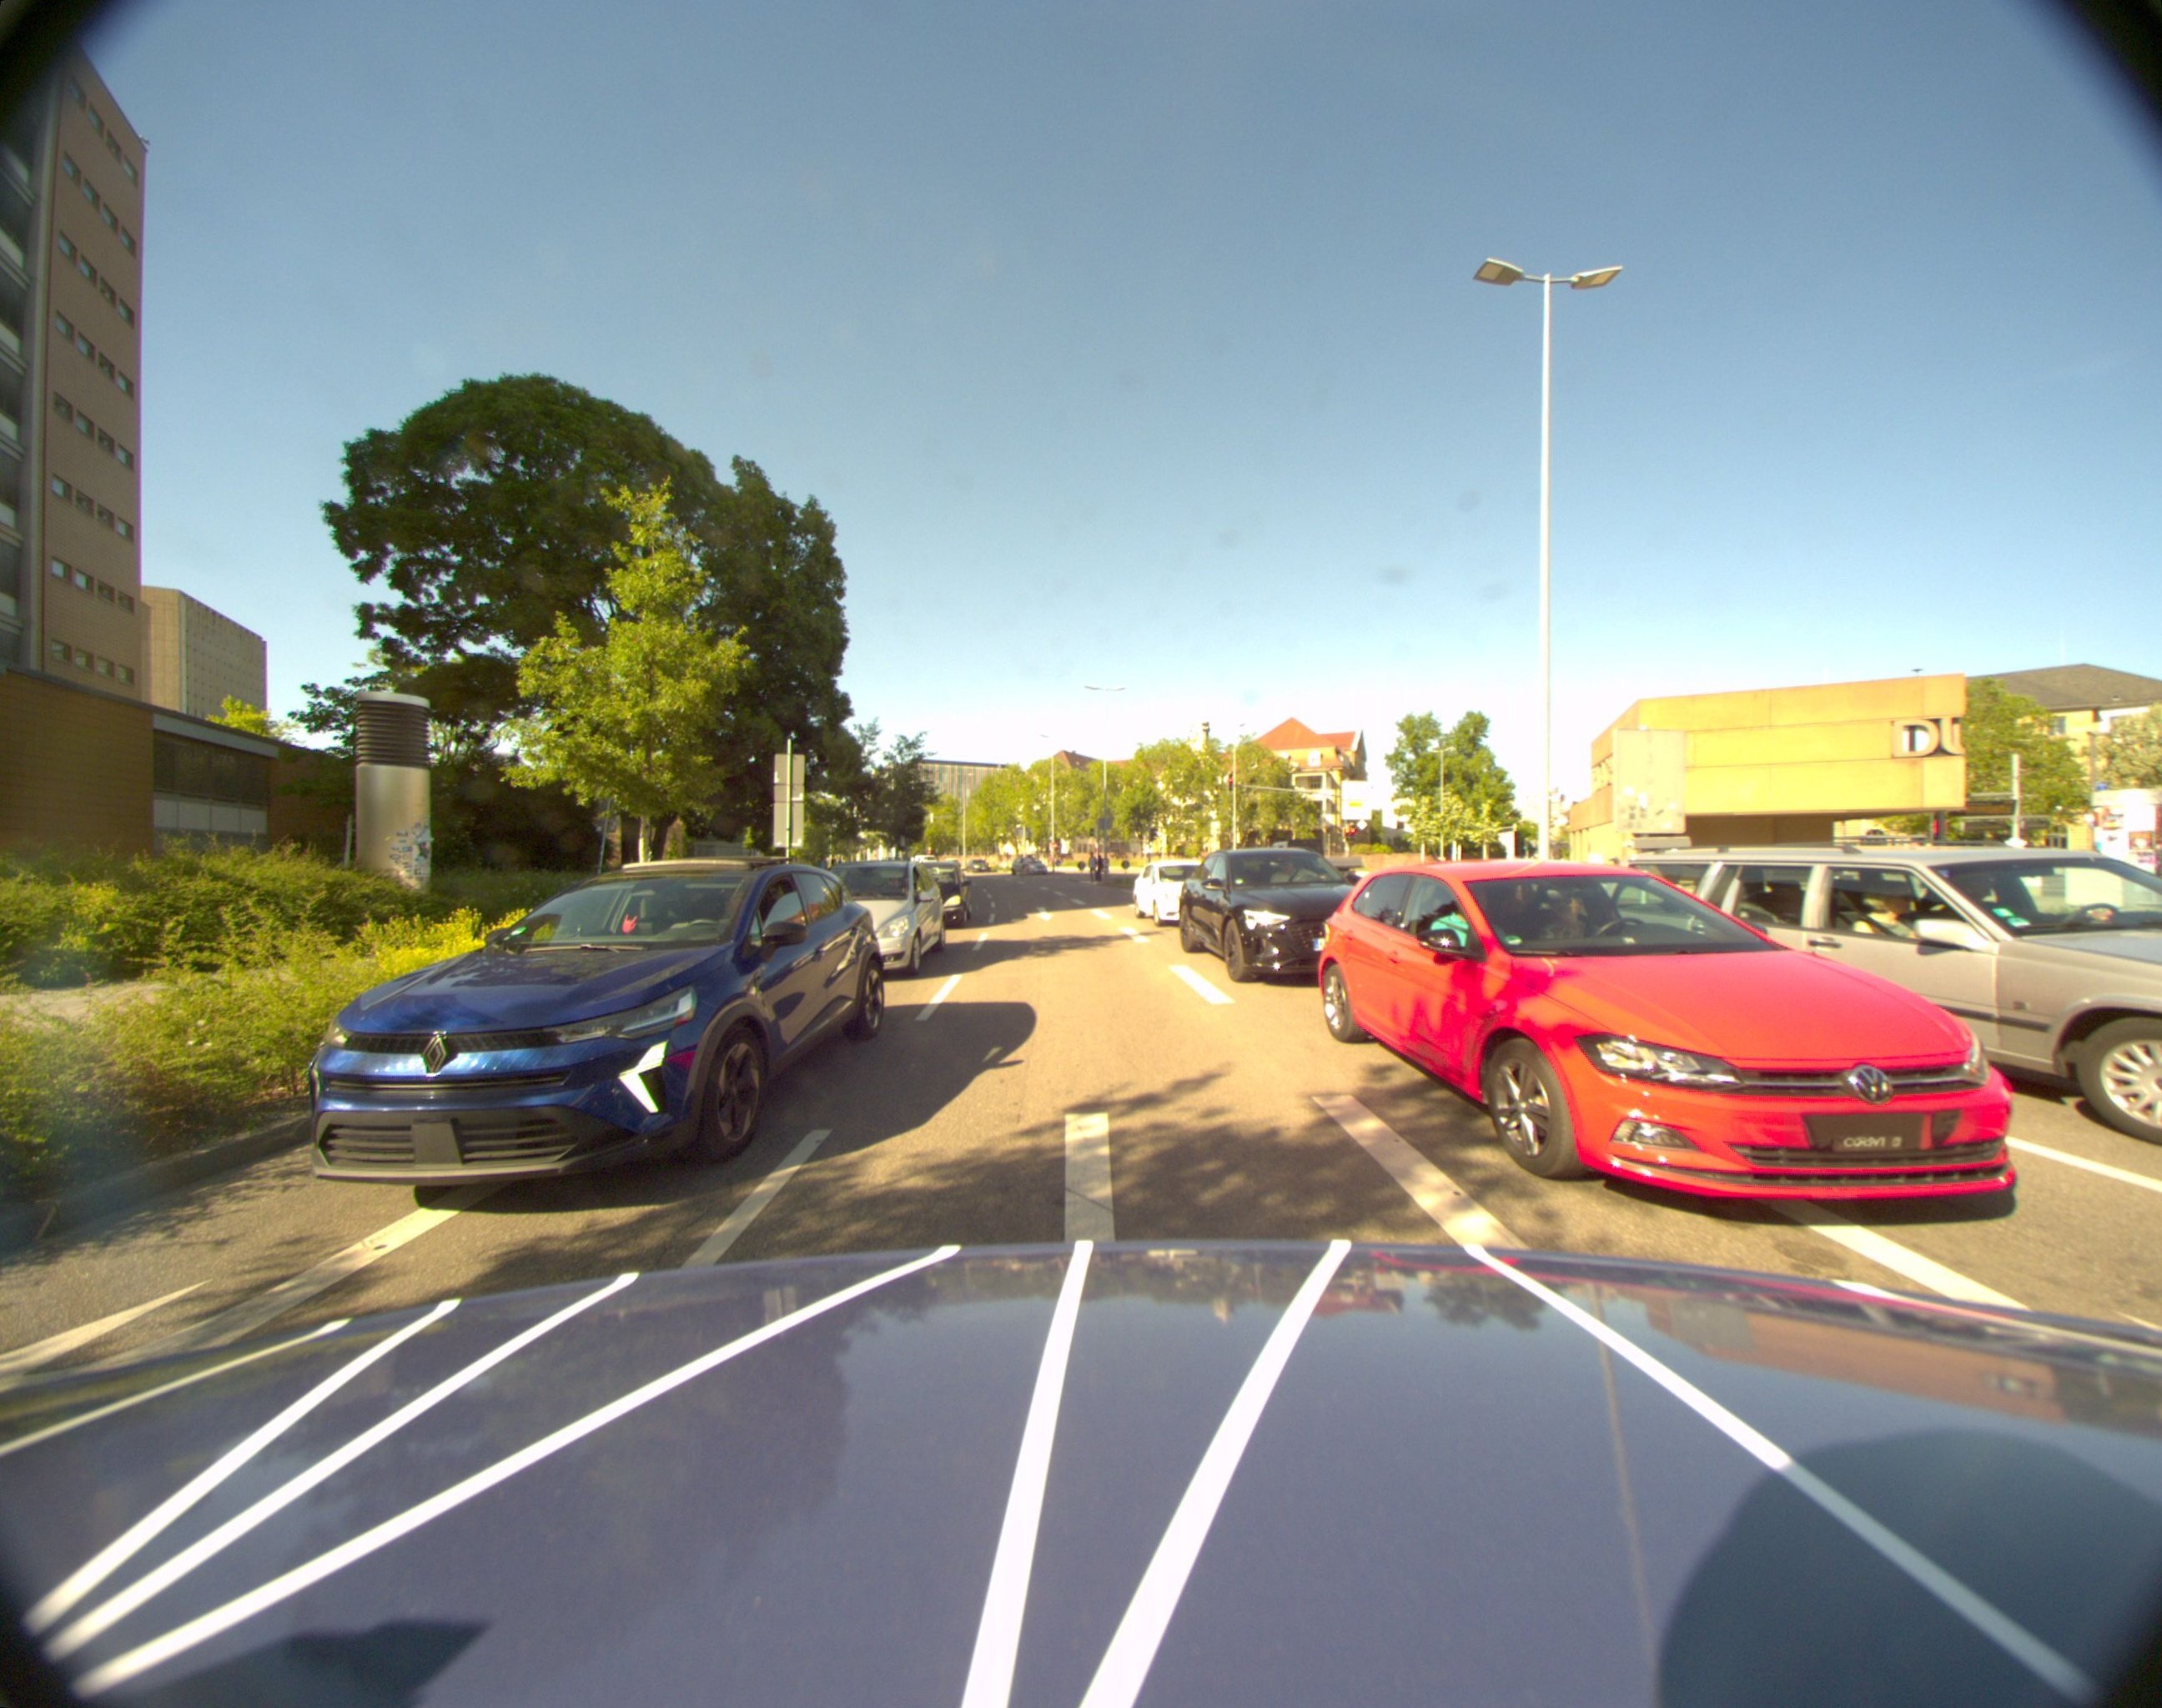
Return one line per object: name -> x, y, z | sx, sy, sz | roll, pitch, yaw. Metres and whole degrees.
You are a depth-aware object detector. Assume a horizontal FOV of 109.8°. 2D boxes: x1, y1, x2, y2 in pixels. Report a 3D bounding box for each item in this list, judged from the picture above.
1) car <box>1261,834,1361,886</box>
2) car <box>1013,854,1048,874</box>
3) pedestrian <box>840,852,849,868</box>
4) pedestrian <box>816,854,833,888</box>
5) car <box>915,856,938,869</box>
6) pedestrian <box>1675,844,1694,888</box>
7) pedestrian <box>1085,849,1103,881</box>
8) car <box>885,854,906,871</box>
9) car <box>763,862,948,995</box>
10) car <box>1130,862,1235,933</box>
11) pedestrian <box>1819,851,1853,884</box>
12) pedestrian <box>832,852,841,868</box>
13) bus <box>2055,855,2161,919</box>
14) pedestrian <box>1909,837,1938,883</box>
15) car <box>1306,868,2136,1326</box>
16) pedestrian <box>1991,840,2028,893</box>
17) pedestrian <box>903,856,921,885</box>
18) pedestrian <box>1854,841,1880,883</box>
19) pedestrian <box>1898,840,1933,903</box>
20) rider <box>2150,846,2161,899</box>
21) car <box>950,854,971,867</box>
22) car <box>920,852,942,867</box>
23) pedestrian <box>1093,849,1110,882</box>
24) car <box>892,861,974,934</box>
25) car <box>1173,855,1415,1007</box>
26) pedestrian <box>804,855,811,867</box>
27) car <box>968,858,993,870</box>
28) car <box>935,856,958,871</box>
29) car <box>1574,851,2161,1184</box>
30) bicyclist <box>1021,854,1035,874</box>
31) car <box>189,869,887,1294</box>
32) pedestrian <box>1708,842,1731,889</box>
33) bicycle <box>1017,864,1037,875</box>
car -> 11.056, 0.266, 37.101 | 2.117, 2.300, 6.209 | -1, 0, -10
car -> -4.484, 0.868, 67.119 | 1.528, 1.670, 3.371 | -1, 2, -34
pedestrian -> -28.214, 0.715, 90.616 | 0.823, 1.906, 0.770 | -2, 1, -27
pedestrian -> -12.148, 0.784, 36.035 | 0.693, 1.594, 0.661 | 0, 0, -14
car -> -18.424, 1.020, 90.478 | 1.884, 1.472, 3.992 | -2, 0, -24
pedestrian -> 24.096, 0.471, 30.333 | 0.467, 1.766, 0.647 | 0, 1, 29
pedestrian -> 0.764, 0.616, 44.524 | 0.887, 1.814, 0.776 | -2, 1, -7
car -> -20.610, 0.879, 84.391 | 1.830, 1.842, 3.746 | 0, 0, -20
car -> -3.170, 0.949, 11.524 | 1.786, 1.615, 4.042 | 0, 0, -3
car -> 2.265, 0.925, 17.841 | 1.575, 1.410, 3.711 | -2, 0, -6
pedestrian -> 30.182, 0.550, 30.396 | 0.645, 1.303, 0.763 | -1, 0, 9
pedestrian -> -29.126, 0.749, 90.414 | 0.823, 1.906, 0.770 | -2, 1, -27
bus -> 21.677, 0.636, 14.116 | 1.646, 1.234, 4.181 | 0, 0, -5
pedestrian -> 33.073, 0.242, 29.827 | 0.645, 1.766, 0.468 | -1, 1, -4
car -> 2.797, 0.872, 4.554 | 1.674, 1.464, 3.853 | -2, 0, -1
pedestrian -> 31.347, 0.417, 25.648 | 0.644, 1.766, 0.469 | 0, 1, 21
pedestrian -> -9.313, 0.900, 41.775 | 0.660, 1.594, 0.694 | 0, 0, 29
pedestrian -> 33.207, 0.351, 32.105 | 0.645, 1.766, 0.468 | -1, 1, -4
pedestrian -> 24.143, 0.499, 21.983 | 0.647, 1.778, 0.666 | -3, 1, -42
rider -> 30.015, 0.501, 20.686 | 0.668, 1.455, 0.862 | 0, 0, 20
car -> -14.595, 0.796, 91.993 | 1.598, 1.596, 3.066 | -1, 0, -26
car -> -20.323, 0.767, 102.884 | 1.790, 2.002, 4.223 | -2, 1, -26
pedestrian -> 1.162, 0.635, 43.213 | 0.757, 1.814, 0.775 | -2, 1, -16
car -> -3.572, 0.983, 18.806 | 1.651, 1.601, 3.487 | 0, 0, -6
car -> 2.562, 0.829, 10.373 | 1.859, 1.606, 4.452 | 0, 0, -3
pedestrian -> -44.692, 1.133, 124.187 | 0.823, 1.906, 0.770 | -2, 1, -26
car -> -10.620, 1.074, 80.334 | 1.587, 1.197, 3.992 | 0, 0, -23
car -> -13.385, 0.927, 75.226 | 1.754, 1.370, 3.569 | -1, 0, -18
car -> 5.763, 0.773, 5.026 | 1.713, 1.464, 4.752 | -4, -1, -2
bicyclist -> -4.198, 0.783, 59.917 | 0.814, 1.549, 0.696 | -1, 1, 41
car -> -2.676, 0.945, 5.066 | 1.705, 1.596, 4.084 | -1, 0, 0
pedestrian -> 24.458, 0.426, 29.110 | 0.644, 1.766, 0.618 | 0, 1, 42
bicycle -> -4.286, 1.223, 60.005 | 1.650, 0.884, 0.591 | -2, 1, 41
